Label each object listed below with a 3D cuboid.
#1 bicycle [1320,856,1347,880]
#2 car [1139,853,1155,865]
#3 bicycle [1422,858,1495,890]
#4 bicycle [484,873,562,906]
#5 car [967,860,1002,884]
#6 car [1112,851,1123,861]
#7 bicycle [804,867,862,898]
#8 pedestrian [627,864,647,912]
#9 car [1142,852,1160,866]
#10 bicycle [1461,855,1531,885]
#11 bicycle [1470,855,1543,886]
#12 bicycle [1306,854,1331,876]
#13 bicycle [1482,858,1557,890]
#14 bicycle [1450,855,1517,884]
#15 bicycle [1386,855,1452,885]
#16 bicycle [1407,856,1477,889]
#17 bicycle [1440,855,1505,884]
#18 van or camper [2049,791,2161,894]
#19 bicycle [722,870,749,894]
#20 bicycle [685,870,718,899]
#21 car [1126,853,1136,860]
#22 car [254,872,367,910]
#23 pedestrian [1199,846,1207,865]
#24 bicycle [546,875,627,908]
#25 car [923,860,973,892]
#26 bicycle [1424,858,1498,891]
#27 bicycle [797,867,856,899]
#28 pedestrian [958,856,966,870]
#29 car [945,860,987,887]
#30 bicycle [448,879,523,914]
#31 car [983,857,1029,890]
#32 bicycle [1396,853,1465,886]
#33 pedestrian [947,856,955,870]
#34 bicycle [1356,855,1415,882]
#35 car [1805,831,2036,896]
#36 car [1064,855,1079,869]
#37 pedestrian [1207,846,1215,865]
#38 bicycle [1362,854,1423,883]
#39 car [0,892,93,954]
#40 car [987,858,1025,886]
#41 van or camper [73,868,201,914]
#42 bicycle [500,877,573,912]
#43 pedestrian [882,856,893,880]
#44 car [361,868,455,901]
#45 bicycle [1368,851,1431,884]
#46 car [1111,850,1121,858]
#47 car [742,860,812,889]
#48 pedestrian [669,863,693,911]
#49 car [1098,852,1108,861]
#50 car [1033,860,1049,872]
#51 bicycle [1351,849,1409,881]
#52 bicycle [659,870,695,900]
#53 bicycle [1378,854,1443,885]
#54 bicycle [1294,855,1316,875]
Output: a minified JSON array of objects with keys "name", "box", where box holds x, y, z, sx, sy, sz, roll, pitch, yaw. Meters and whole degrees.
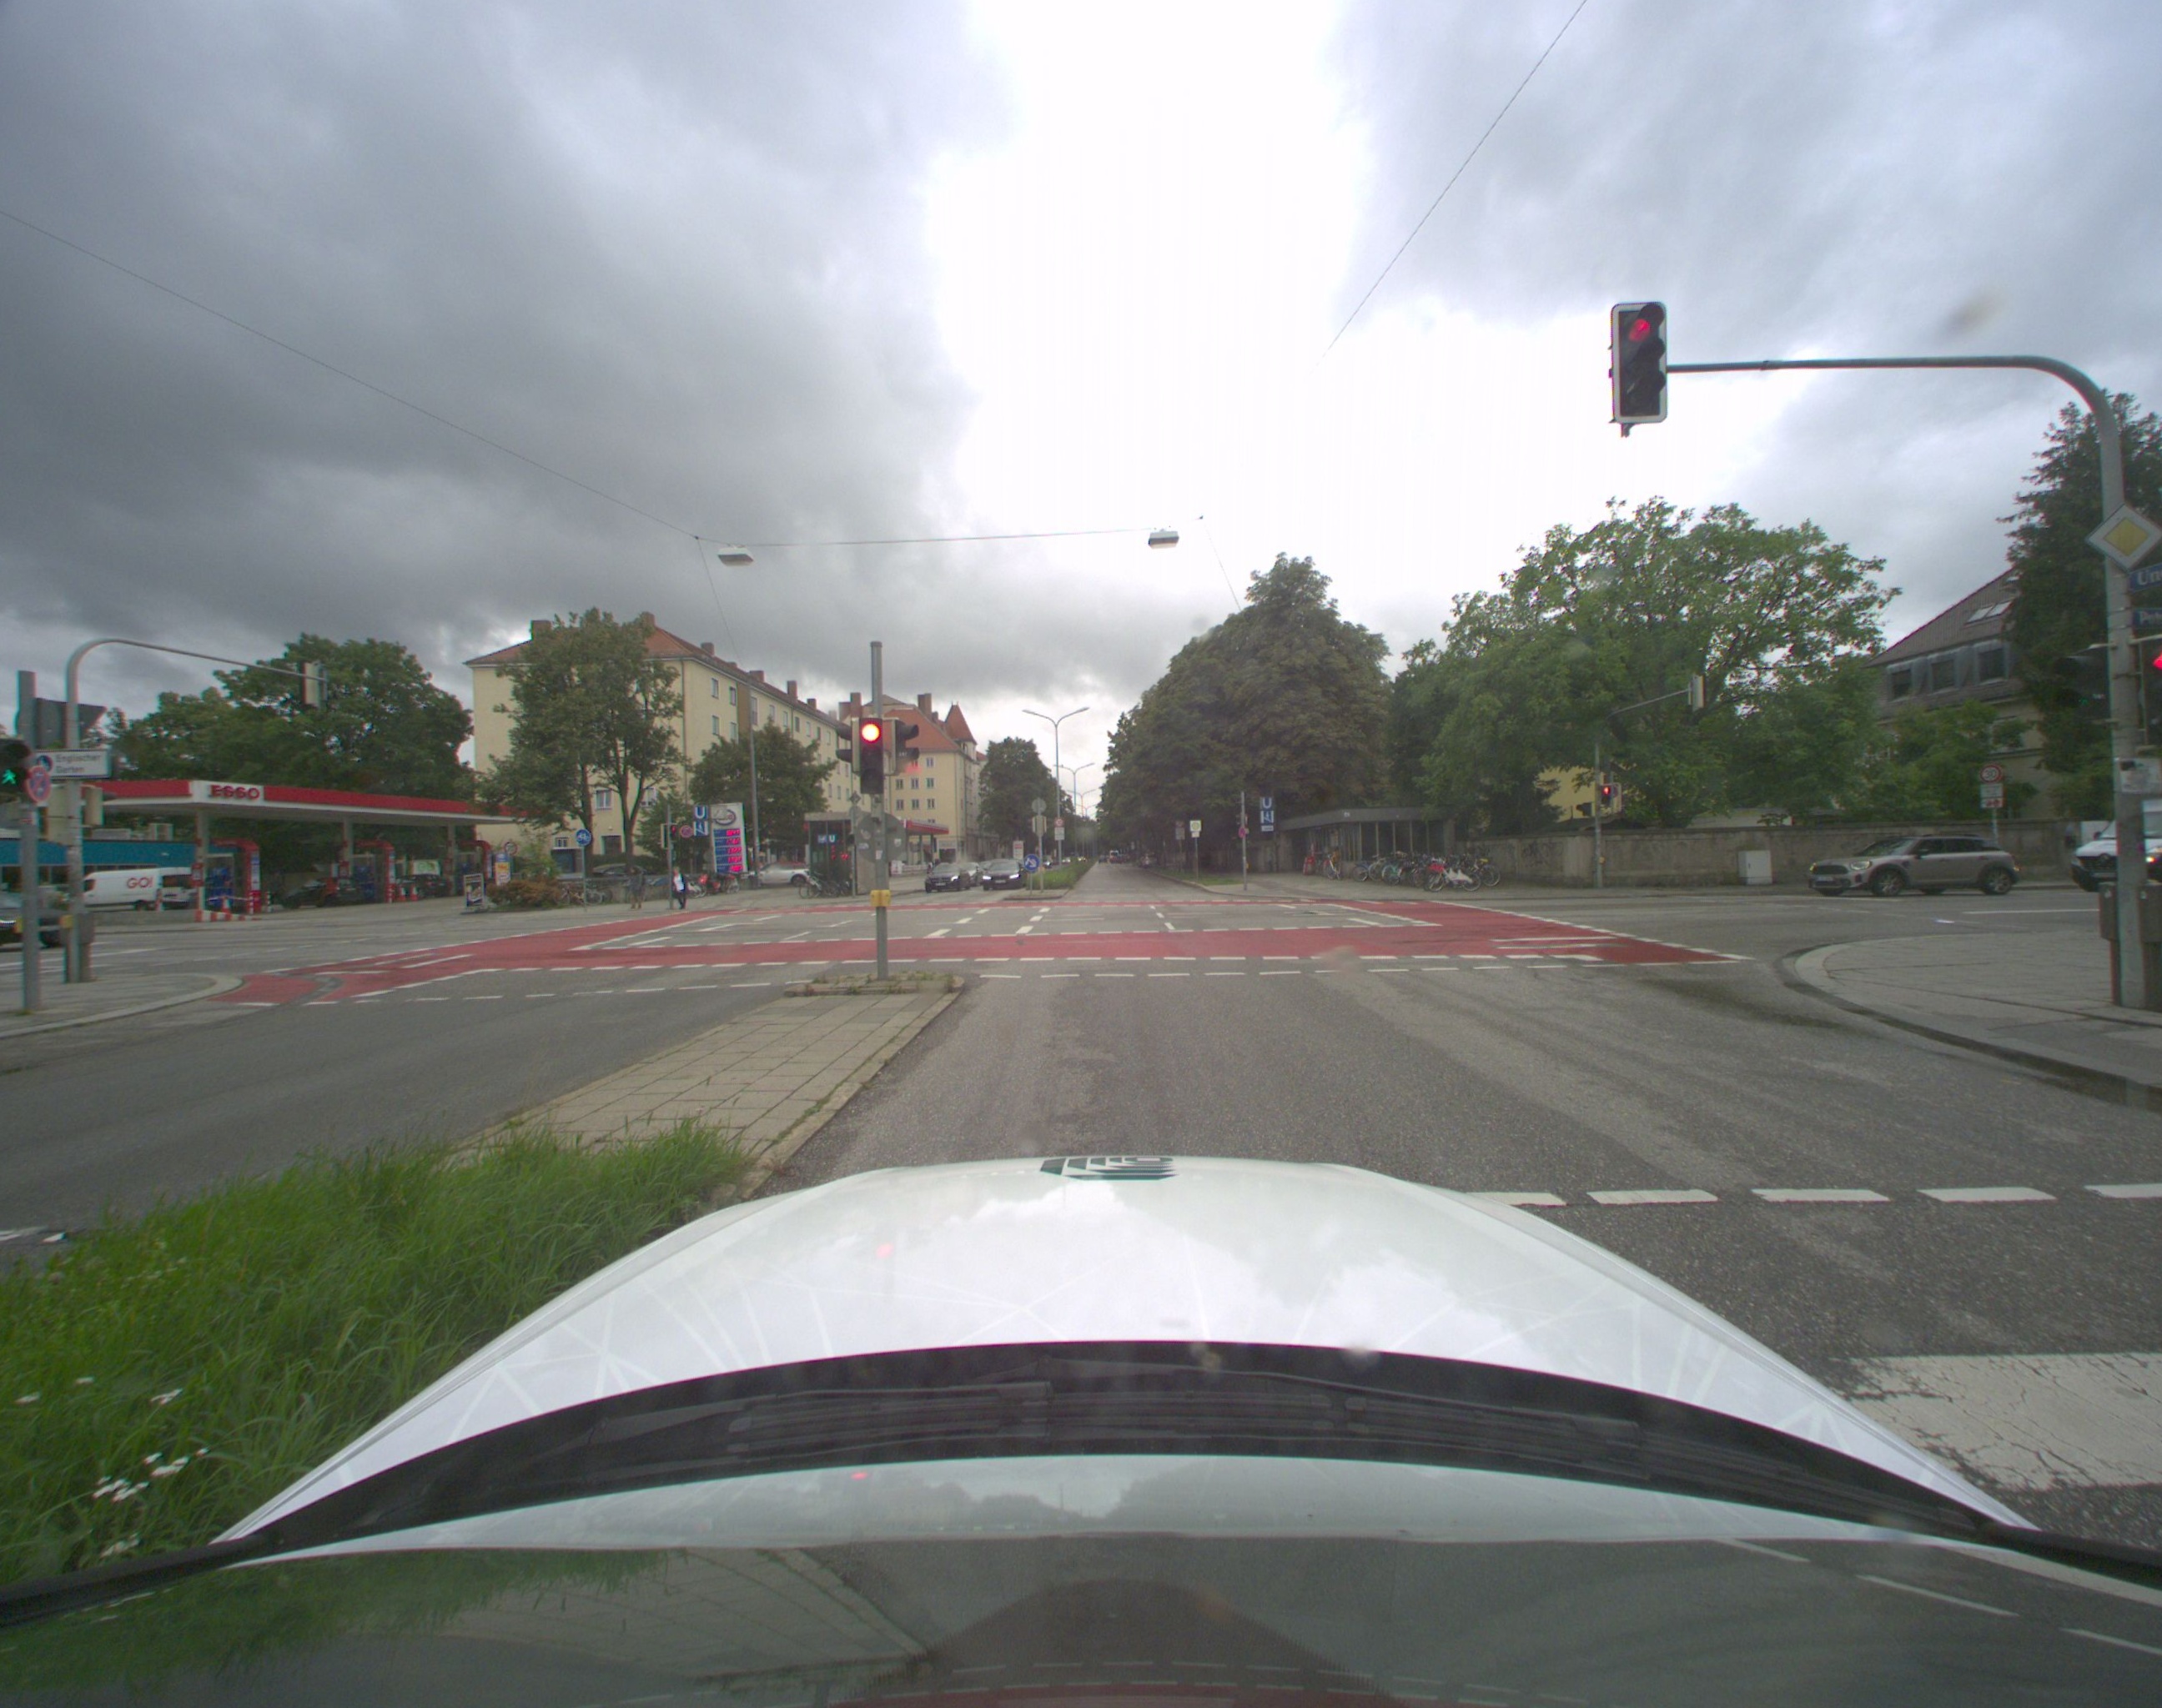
[{"name":"bicycle","box":[11.131,0.603,35.979,0.555,1.014,2.015,-2,0,0]},{"name":"car","box":[8.113,0.625,99.913,1.737,1.363,3.807,-2,0,1]},{"name":"bicycle","box":[12.731,0.663,27.483,2.130,1.014,0.636,-2,0,9]},{"name":"bicycle","box":[-21.883,1.391,31.960,2.394,1.251,0.789,0,-1,-10]},{"name":"car","box":[-6.476,1.199,55.163,1.753,1.460,4.001,-2,0,1]},{"name":"car","box":[6.287,0.376,140.084,1.915,1.684,4.001,0,-1,2]},{"name":"bicycle","box":[-10.976,1.247,36.064,2.276,1.304,0.694,-2,0,2]},{"name":"pedestrian","box":[-16.212,1.235,29.741,0.593,1.695,0.571,-2,0,-29]},{"name":"car","box":[7.686,0.536,89.730,1.737,1.363,3.807,-2,0,1]},{"name":"bicycle","box":[14.921,0.576,29.309,2.130,1.014,0.636,-2,0,9]},{"name":"bicycle","box":[14.893,0.569,28.542,2.130,1.014,0.636,-2,0,9]},{"name":"bicycle","box":[11.260,0.511,38.711,0.555,1.014,2.015,-2,0,0]},{"name":"bicycle","box":[14.924,0.663,27.743,2.130,1.014,0.636,-2,0,9]},{"name":"bicycle","box":[14.862,0.580,30.105,2.130,1.014,0.636,-2,0,9]},{"name":"bicycle","box":[12.303,0.593,29.668,2.130,1.014,0.604,-2,0,9]},{"name":"bicycle","box":[12.532,0.647,28.293,2.130,1.071,0.604,-2,0,9]},{"name":"bicycle","box":[14.831,0.585,30.891,2.130,1.014,0.636,-2,0,9]},{"name":"van or camper","box":[28.690,-0.361,20.661,5.529,2.469,2.069,-2,0,3]},{"name":"bicycle","box":[-17.406,1.394,41.044,0.607,1.145,1.962,-2,0,-5]},{"name":"bicycle","box":[-17.182,1.351,36.891,0.607,1.236,2.183,-2,0,-5]},{"name":"car","box":[9.797,0.495,159.318,1.737,1.427,3.900,-2,0,1]},{"name":"car","box":[-39.690,1.882,42.020,3.973,1.784,1.858,-2,0,1]},{"name":"pedestrian","box":[10.947,0.169,73.240,0.674,1.682,0.684,-2,0,7]},{"name":"bicycle","box":[-19.588,1.477,32.358,2.720,1.251,0.786,0,-1,-29]},{"name":"car","box":[-6.769,1.089,41.779,1.753,1.460,4.001,-2,0,1]},{"name":"bicycle","box":[12.515,0.679,26.863,2.130,1.014,0.604,-2,0,9]},{"name":"bicycle","box":[-11.023,1.248,35.285,2.262,1.304,0.704,-2,0,2]},{"name":"pedestrian","box":[-13.717,1.004,93.851,0.693,1.638,0.738,-2,0,1]},{"name":"car","box":[-6.786,1.143,48.329,1.753,1.460,4.001,-2,0,1]},{"name":"bicycle","box":[-22.829,1.622,31.249,2.179,1.236,0.764,-2,0,-8]},{"name":"car","box":[-3.693,0.927,40.709,1.753,1.493,4.001,-2,0,1]},{"name":"bicycle","box":[12.411,0.552,28.951,2.130,1.101,0.604,-2,0,9]},{"name":"pedestrian","box":[-15.990,1.138,100.164,0.693,1.638,0.738,-2,0,1]},{"name":"bicycle","box":[12.217,0.569,32.722,2.130,1.014,0.604,-2,0,9]},{"name":"car","box":[21.779,0.233,21.250,4.151,1.514,1.697,-2,0,3]},{"name":"car","box":[-0.985,0.833,85.849,1.463,1.399,3.701,-2,0,1]},{"name":"pedestrian","box":[11.749,0.124,73.428,0.674,1.682,0.684,-2,0,7]},{"name":"bicycle","box":[12.163,0.581,31.841,2.130,1.062,0.604,-2,0,9]},{"name":"car","box":[-27.682,1.764,20.580,3.532,1.412,1.666,-2,0,3]},{"name":"car","box":[-4.388,1.020,48.416,1.753,1.493,4.001,-2,0,1]},{"name":"van or camper","box":[-51.884,1.994,44.827,4.526,2.323,1.917,-2,0,-3]},{"name":"bicycle","box":[-20.895,1.550,31.301,2.180,1.236,0.763,-2,0,-10]},{"name":"pedestrian","box":[-16.434,1.165,69.068,0.727,2.014,0.835,0,-1,1]},{"name":"car","box":[-40.228,1.827,48.739,3.973,1.784,1.858,-2,0,1]},{"name":"bicycle","box":[12.172,0.518,31.139,2.130,1.178,0.604,-2,0,9]},{"name":"car","box":[7.722,0.018,179.521,1.986,1.756,4.001,-2,0,1]},{"name":"car","box":[-18.976,1.254,50.828,3.971,1.608,1.803,-2,0,-23]},{"name":"pedestrian","box":[-14.597,1.203,29.742,0.532,1.695,0.578,-2,0,4]},{"name":"car","box":[4.114,0.518,155.197,1.850,1.684,4.001,-2,0,1]},{"name":"car","box":[-5.282,1.568,107.045,1.753,1.493,4.001,-2,0,1]},{"name":"bicycle","box":[12.257,0.451,33.438,2.130,1.218,0.604,-2,0,9]},{"name":"bicycle","box":[-17.862,1.368,36.076,0.607,1.236,2.183,-2,0,-5]},{"name":"bicycle","box":[12.283,0.560,30.399,2.130,1.086,0.604,-2,0,9]},{"name":"bicycle","box":[11.571,0.543,42.132,0.555,1.014,2.015,-2,0,0]}]
